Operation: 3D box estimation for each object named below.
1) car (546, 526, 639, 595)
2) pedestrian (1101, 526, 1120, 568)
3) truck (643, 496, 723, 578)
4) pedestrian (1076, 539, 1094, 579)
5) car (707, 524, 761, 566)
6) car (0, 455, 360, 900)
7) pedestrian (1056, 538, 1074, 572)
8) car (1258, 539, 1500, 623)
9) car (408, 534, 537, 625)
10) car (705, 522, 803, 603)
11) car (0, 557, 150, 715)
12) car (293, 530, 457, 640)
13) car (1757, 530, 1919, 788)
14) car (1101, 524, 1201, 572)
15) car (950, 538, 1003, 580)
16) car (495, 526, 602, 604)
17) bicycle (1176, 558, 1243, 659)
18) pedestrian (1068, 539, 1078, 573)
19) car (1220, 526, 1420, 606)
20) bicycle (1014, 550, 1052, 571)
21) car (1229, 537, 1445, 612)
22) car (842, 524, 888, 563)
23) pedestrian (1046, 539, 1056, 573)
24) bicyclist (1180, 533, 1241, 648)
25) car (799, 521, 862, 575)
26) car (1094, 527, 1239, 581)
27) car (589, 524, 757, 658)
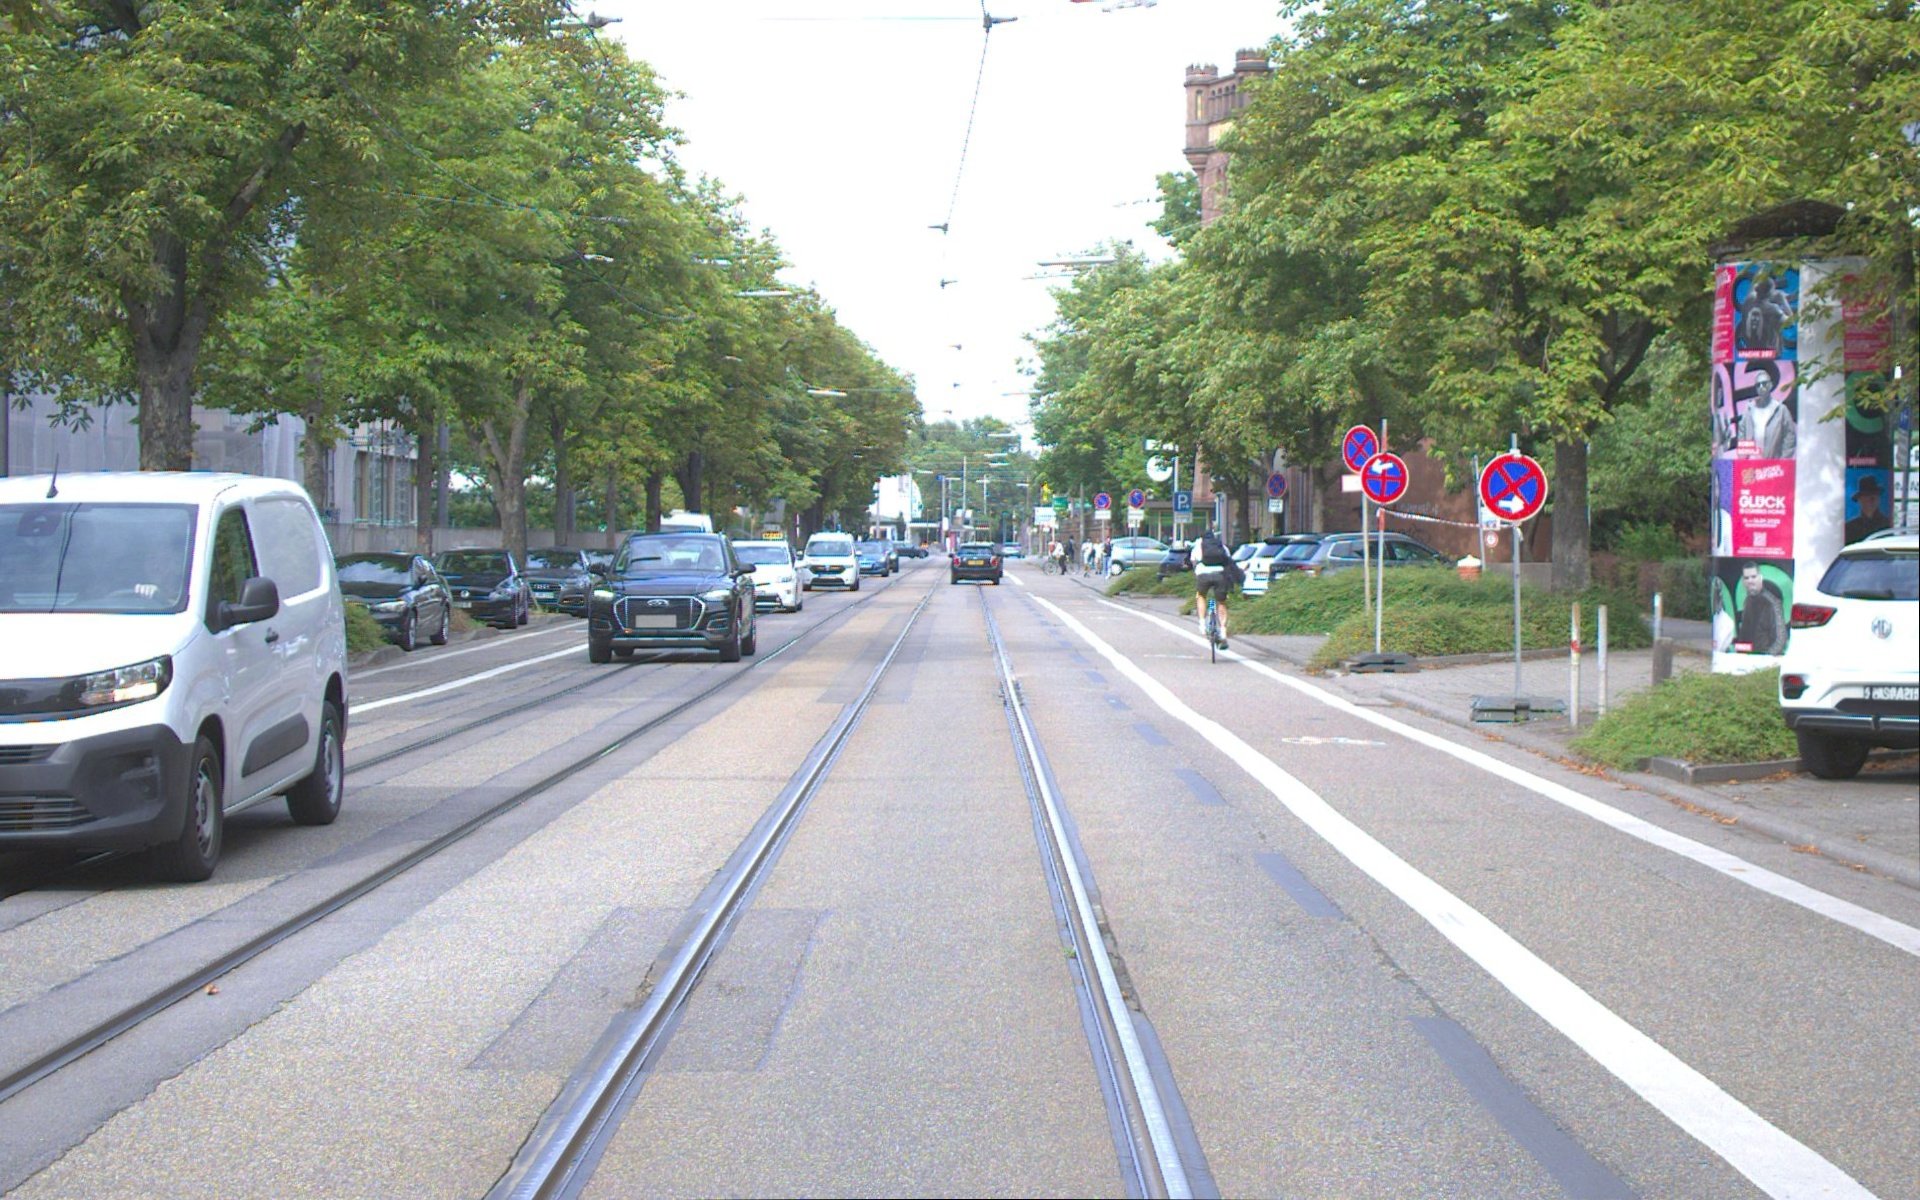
[{"bbox_3d":[-8.695,-0.960,81.679,1.802,1.578,4.031,-1,1,-1],"label":"car"},{"bbox_3d":[5.967,-2.097,136.534,0.726,1.640,0.766,1,1,2],"label":"pedestrian"},{"bbox_3d":[-8.524,-1.946,106.102,2.071,2.462,4.899,-1,1,-1],"label":"truck"},{"bbox_3d":[5.283,-1.740,145.472,0.726,1.640,0.766,1,1,2],"label":"pedestrian"},{"bbox_3d":[-8.648,-2.101,131.858,1.802,1.578,4.031,-1,1,-1],"label":"car"},{"bbox_3d":[-4.129,0.283,16.305,1.802,1.817,4.485,-1,1,-1],"label":"car"},{"bbox_3d":[5.091,-2.179,166.673,0.726,1.640,0.766,2,1,10],"label":"pedestrian"},{"bbox_3d":[7.401,-0.350,61.042,3.986,1.420,1.885,1,1,-3],"label":"car"},{"bbox_3d":[-8.821,-0.400,62.489,1.802,1.578,4.031,-1,1,-1],"label":"car"},{"bbox_3d":[-4.262,-0.798,71.675,1.802,1.616,4.485,-1,1,-1],"label":"car"},{"bbox_3d":[-9.010,0.303,32.443,1.802,1.369,4.031,-1,1,-1],"label":"car"},{"bbox_3d":[-8.753,-0.250,51.755,1.802,1.578,4.031,-1,1,-1],"label":"car"},{"bbox_3d":[6.935,0.349,22.435,3.437,1.567,1.560,0,1,-38],"label":"car"},{"bbox_3d":[8.049,-2.199,145.147,3.986,1.904,2.000,1,1,-2],"label":"car"},{"bbox_3d":[0.571,-1.470,121.311,1.793,1.418,4.000,1,1,0],"label":"car"},{"bbox_3d":[-8.677,-0.755,72.720,1.802,1.578,4.031,-1,1,-1],"label":"car"},{"bbox_3d":[3.248,0.100,44.894,0.657,1.244,2.125,1,1,-1],"label":"bicycle"},{"bbox_3d":[6.821,-2.666,207.248,0.518,2.007,0.480,1,1,4],"label":"pedestrian"},{"bbox_3d":[7.663,-0.735,73.342,3.986,1.622,1.885,1,1,-3],"label":"car"},{"bbox_3d":[3.558,-1.907,167.188,1.721,0.988,0.658,2,1,9],"label":"bicycle"},{"bbox_3d":[7.419,-0.512,67.942,3.986,1.420,1.885,1,1,-3],"label":"car"},{"bbox_3d":[-3.949,-2.357,143.293,1.802,1.616,4.485,-1,1,-1],"label":"car"},{"bbox_3d":[5.382,-2.628,204.107,0.518,2.007,0.480,1,1,4],"label":"pedestrian"},{"bbox_3d":[3.267,-0.134,44.909,0.657,1.458,1.179,1,1,-1],"label":"bicyclist"},{"bbox_3d":[-3.942,-1.600,105.209,1.802,1.616,4.485,-1,1,-1],"label":"car"},{"bbox_3d":[5.931,-1.324,98.984,3.986,1.503,1.885,1,1,-3],"label":"car"},{"bbox_3d":[-3.626,-0.147,44.097,1.802,1.616,4.485,-1,1,-1],"label":"car"}]
